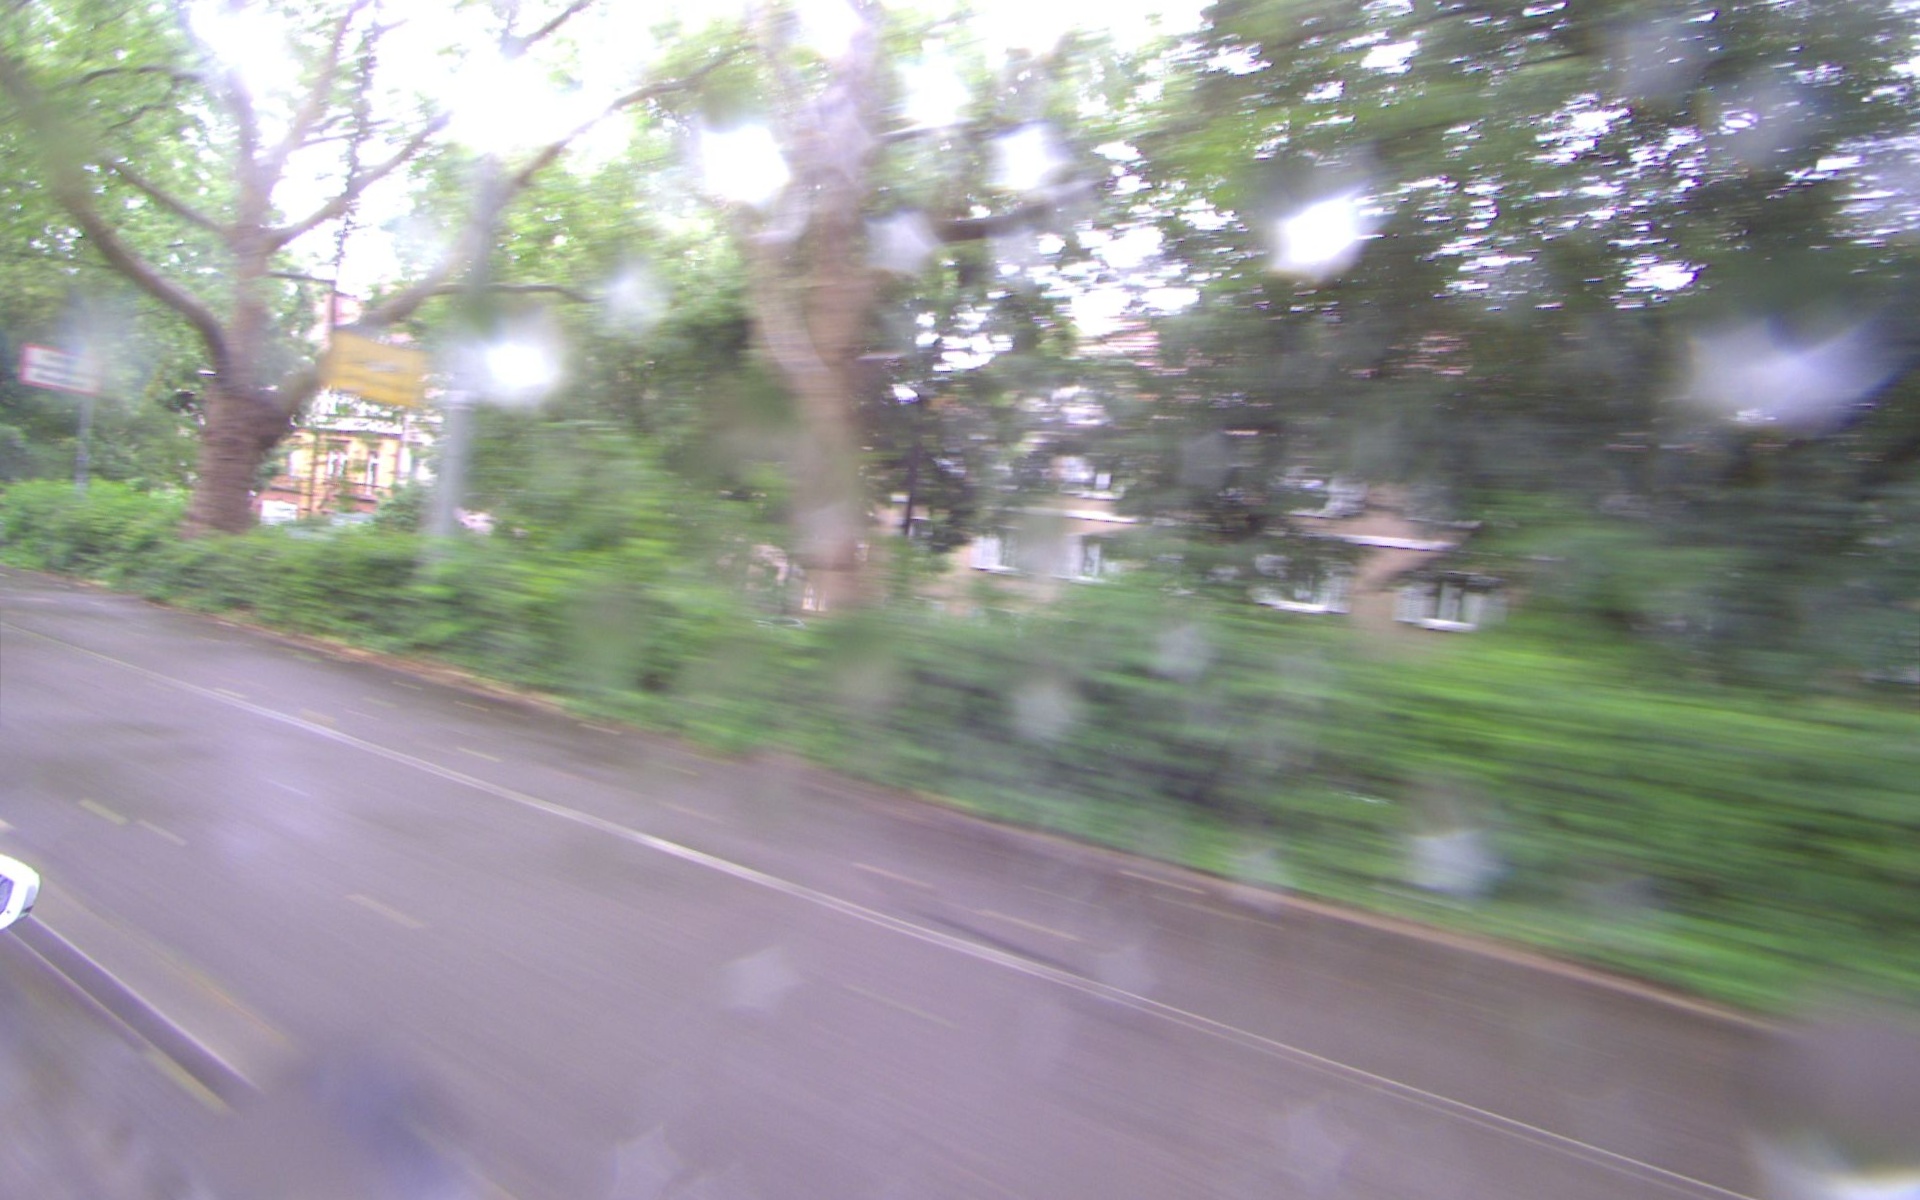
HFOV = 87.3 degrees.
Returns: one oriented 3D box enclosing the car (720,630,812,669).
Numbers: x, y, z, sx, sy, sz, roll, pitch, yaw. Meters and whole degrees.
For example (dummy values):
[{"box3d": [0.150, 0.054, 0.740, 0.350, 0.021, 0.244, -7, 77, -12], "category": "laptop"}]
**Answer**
[{"box3d": [-9.045, 2.338, 47.111, 1.897, 1.487, 3.896, 5, -2, 37], "category": "car"}]
